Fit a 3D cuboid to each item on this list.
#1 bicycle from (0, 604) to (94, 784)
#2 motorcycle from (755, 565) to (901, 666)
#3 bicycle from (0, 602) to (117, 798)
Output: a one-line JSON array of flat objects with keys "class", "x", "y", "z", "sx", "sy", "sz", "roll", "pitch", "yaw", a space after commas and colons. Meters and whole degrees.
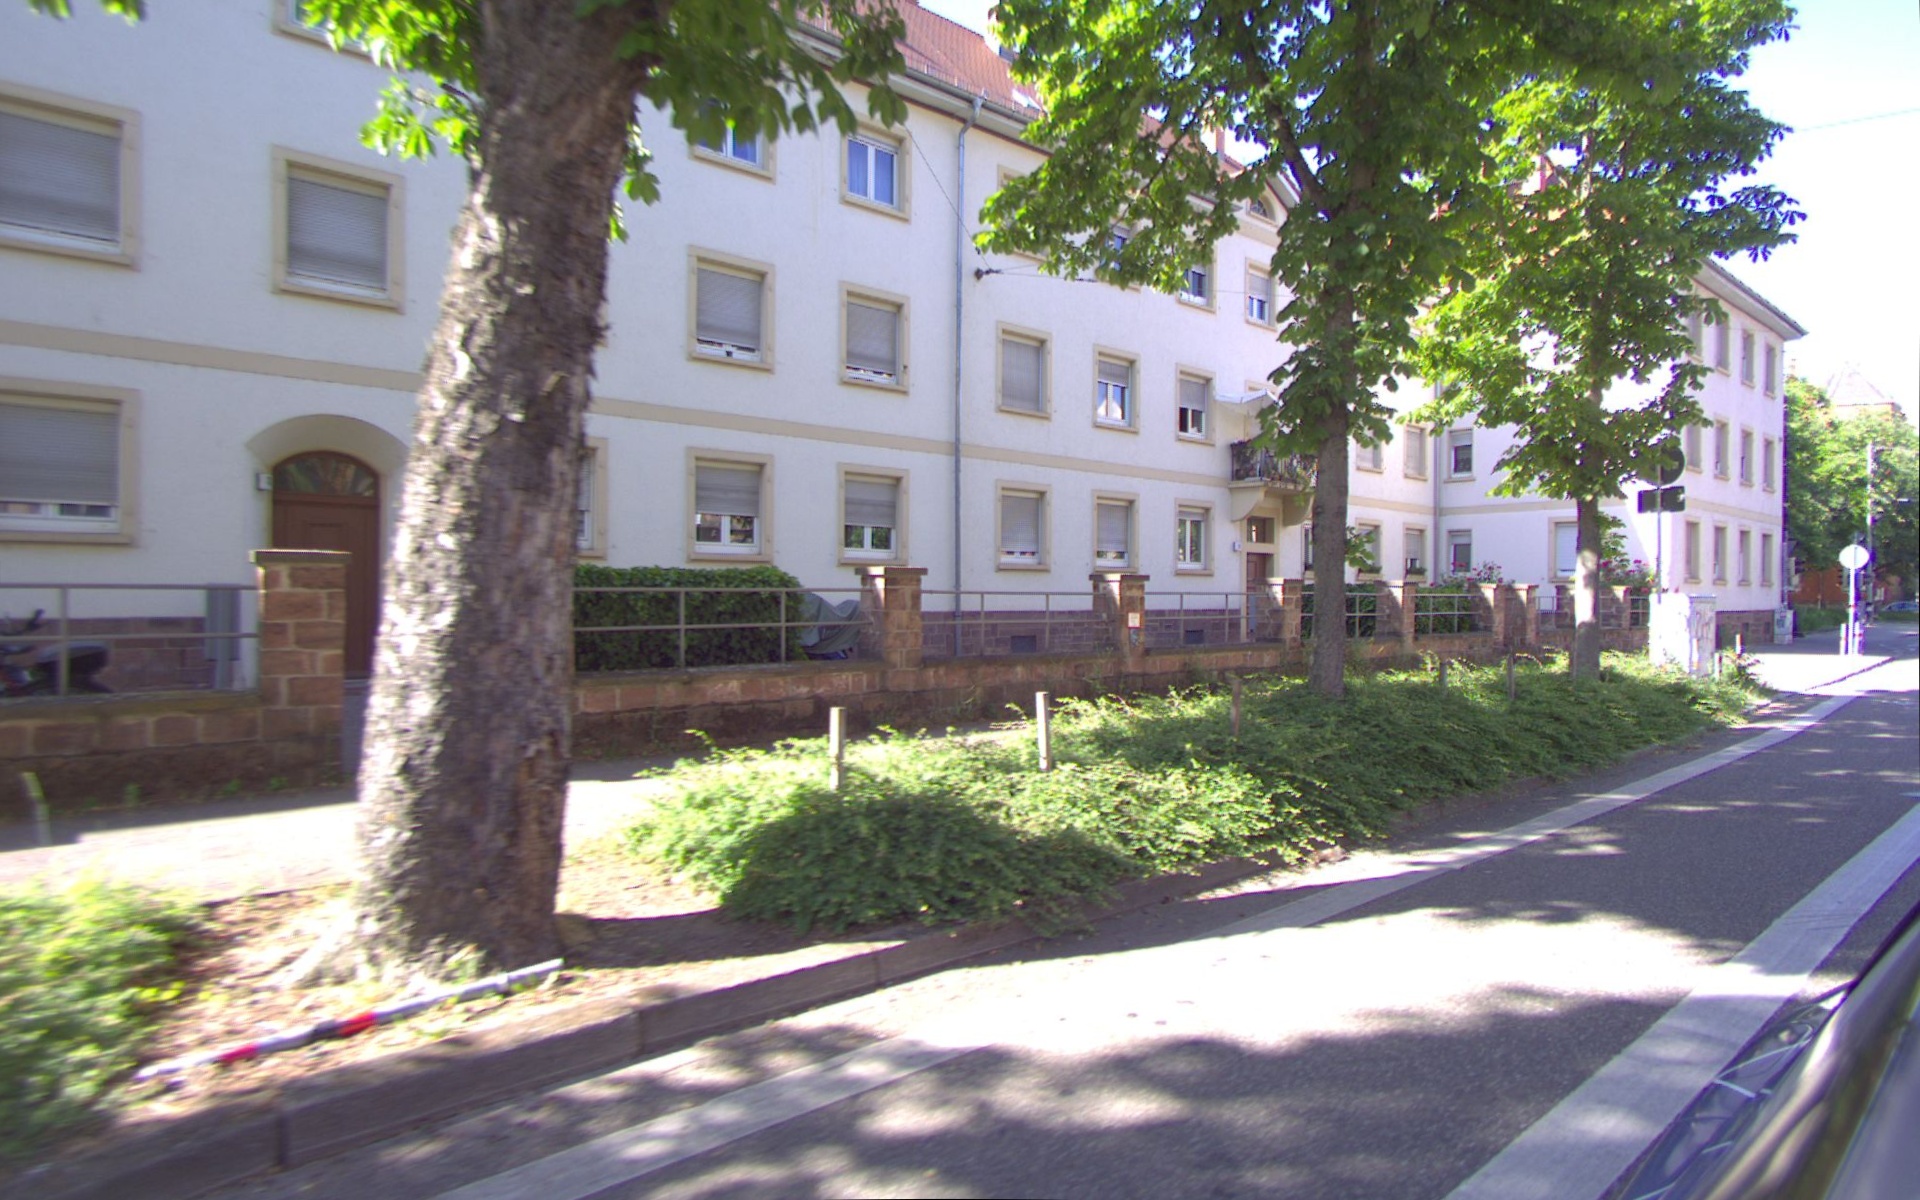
[{"class": "bicycle", "x": -7.139, "y": 0.668, "z": 7.075, "sx": 1.646, "sy": 1.254, "sz": 0.448, "roll": 0, "pitch": 1, "yaw": -41}, {"class": "motorcycle", "x": -2.083, "y": 0.231, "z": 16.165, "sx": 2.218, "sy": 1.506, "sz": 0.807, "roll": 0, "pitch": -1, "yaw": -41}, {"class": "bicycle", "x": -6.543, "y": 0.653, "z": 6.562, "sx": 1.646, "sy": 1.254, "sz": 0.448, "roll": 0, "pitch": 1, "yaw": -41}]
